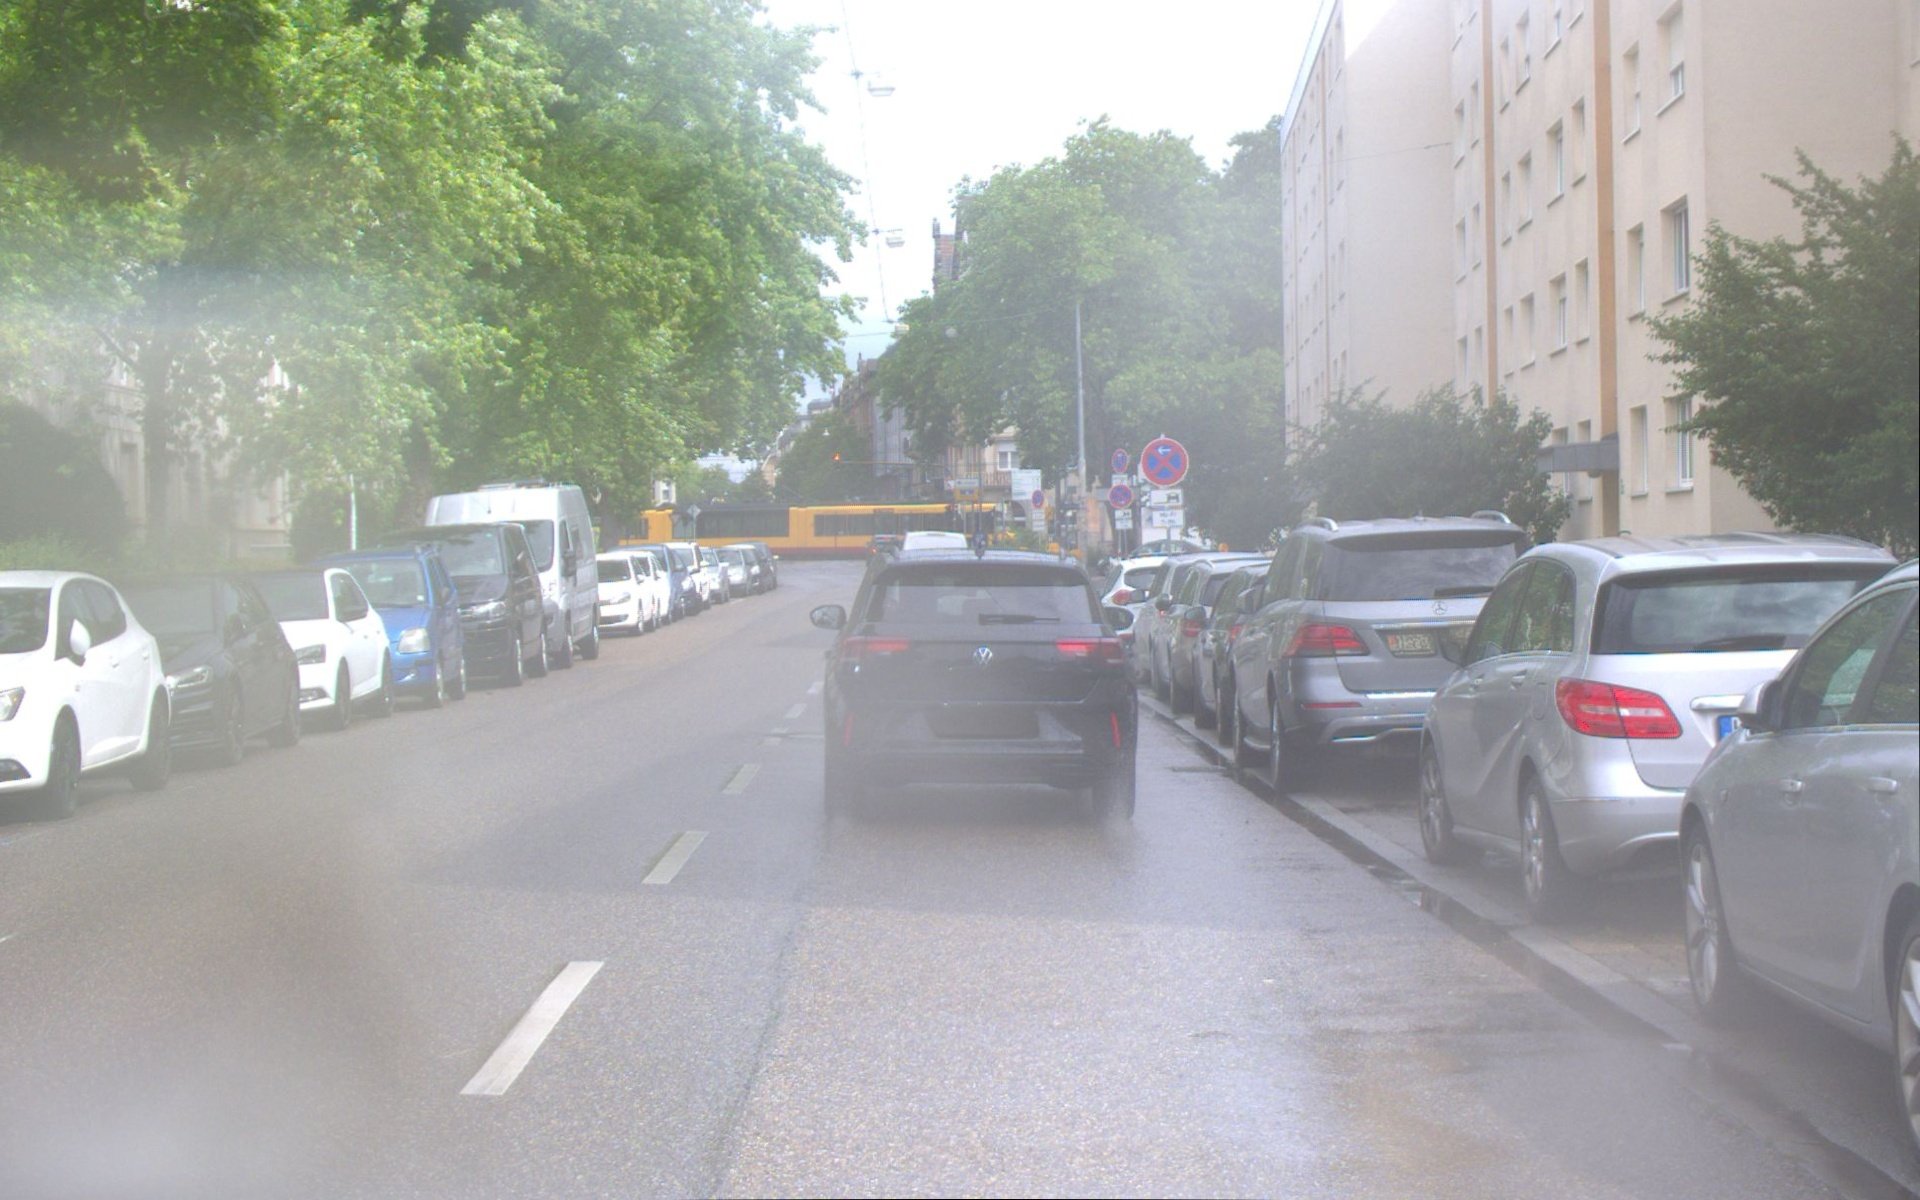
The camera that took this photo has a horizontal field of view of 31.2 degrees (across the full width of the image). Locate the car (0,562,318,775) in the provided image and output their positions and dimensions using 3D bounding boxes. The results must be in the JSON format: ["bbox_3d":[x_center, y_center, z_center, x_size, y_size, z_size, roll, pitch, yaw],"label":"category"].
[{"bbox_3d":[-5.998,0.457,25.988,1.586,1.413,3.921,-2,1,-1],"label":"car"}]

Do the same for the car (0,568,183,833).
[{"bbox_3d":[-5.895,0.554,20.696,1.586,1.413,3.921,-2,1,-1],"label":"car"}]

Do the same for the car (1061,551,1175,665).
[{"bbox_3d":[2.585,0.098,56.886,1.604,1.759,4.032,-2,1,-1],"label":"car"}]

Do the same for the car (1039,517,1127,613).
[{"bbox_3d":[2.456,-0.730,69.365,1.666,1.831,4.000,-2,1,1],"label":"car"}]

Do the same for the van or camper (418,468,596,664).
[{"bbox_3d":[-6.157,-0.487,47.179,1.802,2.485,5.021,-2,1,-1],"label":"van or camper"}]

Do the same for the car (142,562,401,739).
[{"bbox_3d":[-6.130,0.403,30.979,1.586,1.413,3.921,-2,1,-1],"label":"car"}]

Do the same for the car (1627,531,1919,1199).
[{"bbox_3d":[3.033,0.581,9.226,1.695,1.533,4.032,-2,1,1],"label":"car"}]

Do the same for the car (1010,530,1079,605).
[{"bbox_3d":[2.165,-0.859,88.489,1.666,1.831,4.000,-2,1,1],"label":"car"}]

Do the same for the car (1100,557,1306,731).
[{"bbox_3d":[2.279,0.376,33.112,1.604,1.500,4.032,-2,1,-1],"label":"car"}]

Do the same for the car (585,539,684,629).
[{"bbox_3d":[-6.290,-0.339,66.699,1.586,1.634,3.921,-2,1,-1],"label":"car"}]

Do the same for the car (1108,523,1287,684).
[{"bbox_3d":[2.583,0.003,38.102,1.604,1.630,4.032,-2,1,-1],"label":"car"}]

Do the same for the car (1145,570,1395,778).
[{"bbox_3d":[2.477,0.546,28.264,1.604,1.500,4.032,-2,1,-1],"label":"car"}]

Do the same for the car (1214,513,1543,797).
[{"bbox_3d":[2.685,0.301,22.842,1.604,1.666,4.032,-2,1,-1],"label":"car"}]

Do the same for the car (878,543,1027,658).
[{"bbox_3d":[-0.064,-0.002,47.798,1.813,1.498,4.000,1,0,3],"label":"car"}]

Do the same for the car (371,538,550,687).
[{"bbox_3d":[-5.883,0.111,40.833,1.586,1.634,3.921,-2,1,-1],"label":"car"}]

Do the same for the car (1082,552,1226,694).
[{"bbox_3d":[2.561,0.267,46.130,1.604,1.759,4.032,-2,1,-1],"label":"car"}]

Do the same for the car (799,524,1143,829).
[{"bbox_3d":[0.167,0.377,21.018,1.873,1.640,4.062,1,1,3],"label":"car"}]

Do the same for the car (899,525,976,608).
[{"bbox_3d":[-0.565,-0.876,90.979,1.836,2.095,4.000,1,0,2],"label":"car"}]

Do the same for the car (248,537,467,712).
[{"bbox_3d":[-6.113,0.205,35.256,1.586,1.634,3.921,-2,1,-1],"label":"car"}]

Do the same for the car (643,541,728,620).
[{"bbox_3d":[-5.979,-0.454,75.140,1.586,1.634,3.921,-2,1,-1],"label":"car"}]

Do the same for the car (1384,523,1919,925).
[{"bbox_3d":[2.982,0.446,15.304,1.604,1.500,4.032,-2,1,-1],"label":"car"}]

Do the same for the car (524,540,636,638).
[{"bbox_3d":[-6.725,-0.219,61.187,1.586,1.634,3.921,-2,1,-1],"label":"car"}]

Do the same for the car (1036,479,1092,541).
[{"bbox_3d":[3.211,-2.784,106.834,1.666,1.831,4.000,-2,1,1],"label":"car"}]

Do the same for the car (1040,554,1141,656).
[{"bbox_3d":[2.384,0.061,63.625,1.604,1.759,4.032,-2,1,-1],"label":"car"}]
